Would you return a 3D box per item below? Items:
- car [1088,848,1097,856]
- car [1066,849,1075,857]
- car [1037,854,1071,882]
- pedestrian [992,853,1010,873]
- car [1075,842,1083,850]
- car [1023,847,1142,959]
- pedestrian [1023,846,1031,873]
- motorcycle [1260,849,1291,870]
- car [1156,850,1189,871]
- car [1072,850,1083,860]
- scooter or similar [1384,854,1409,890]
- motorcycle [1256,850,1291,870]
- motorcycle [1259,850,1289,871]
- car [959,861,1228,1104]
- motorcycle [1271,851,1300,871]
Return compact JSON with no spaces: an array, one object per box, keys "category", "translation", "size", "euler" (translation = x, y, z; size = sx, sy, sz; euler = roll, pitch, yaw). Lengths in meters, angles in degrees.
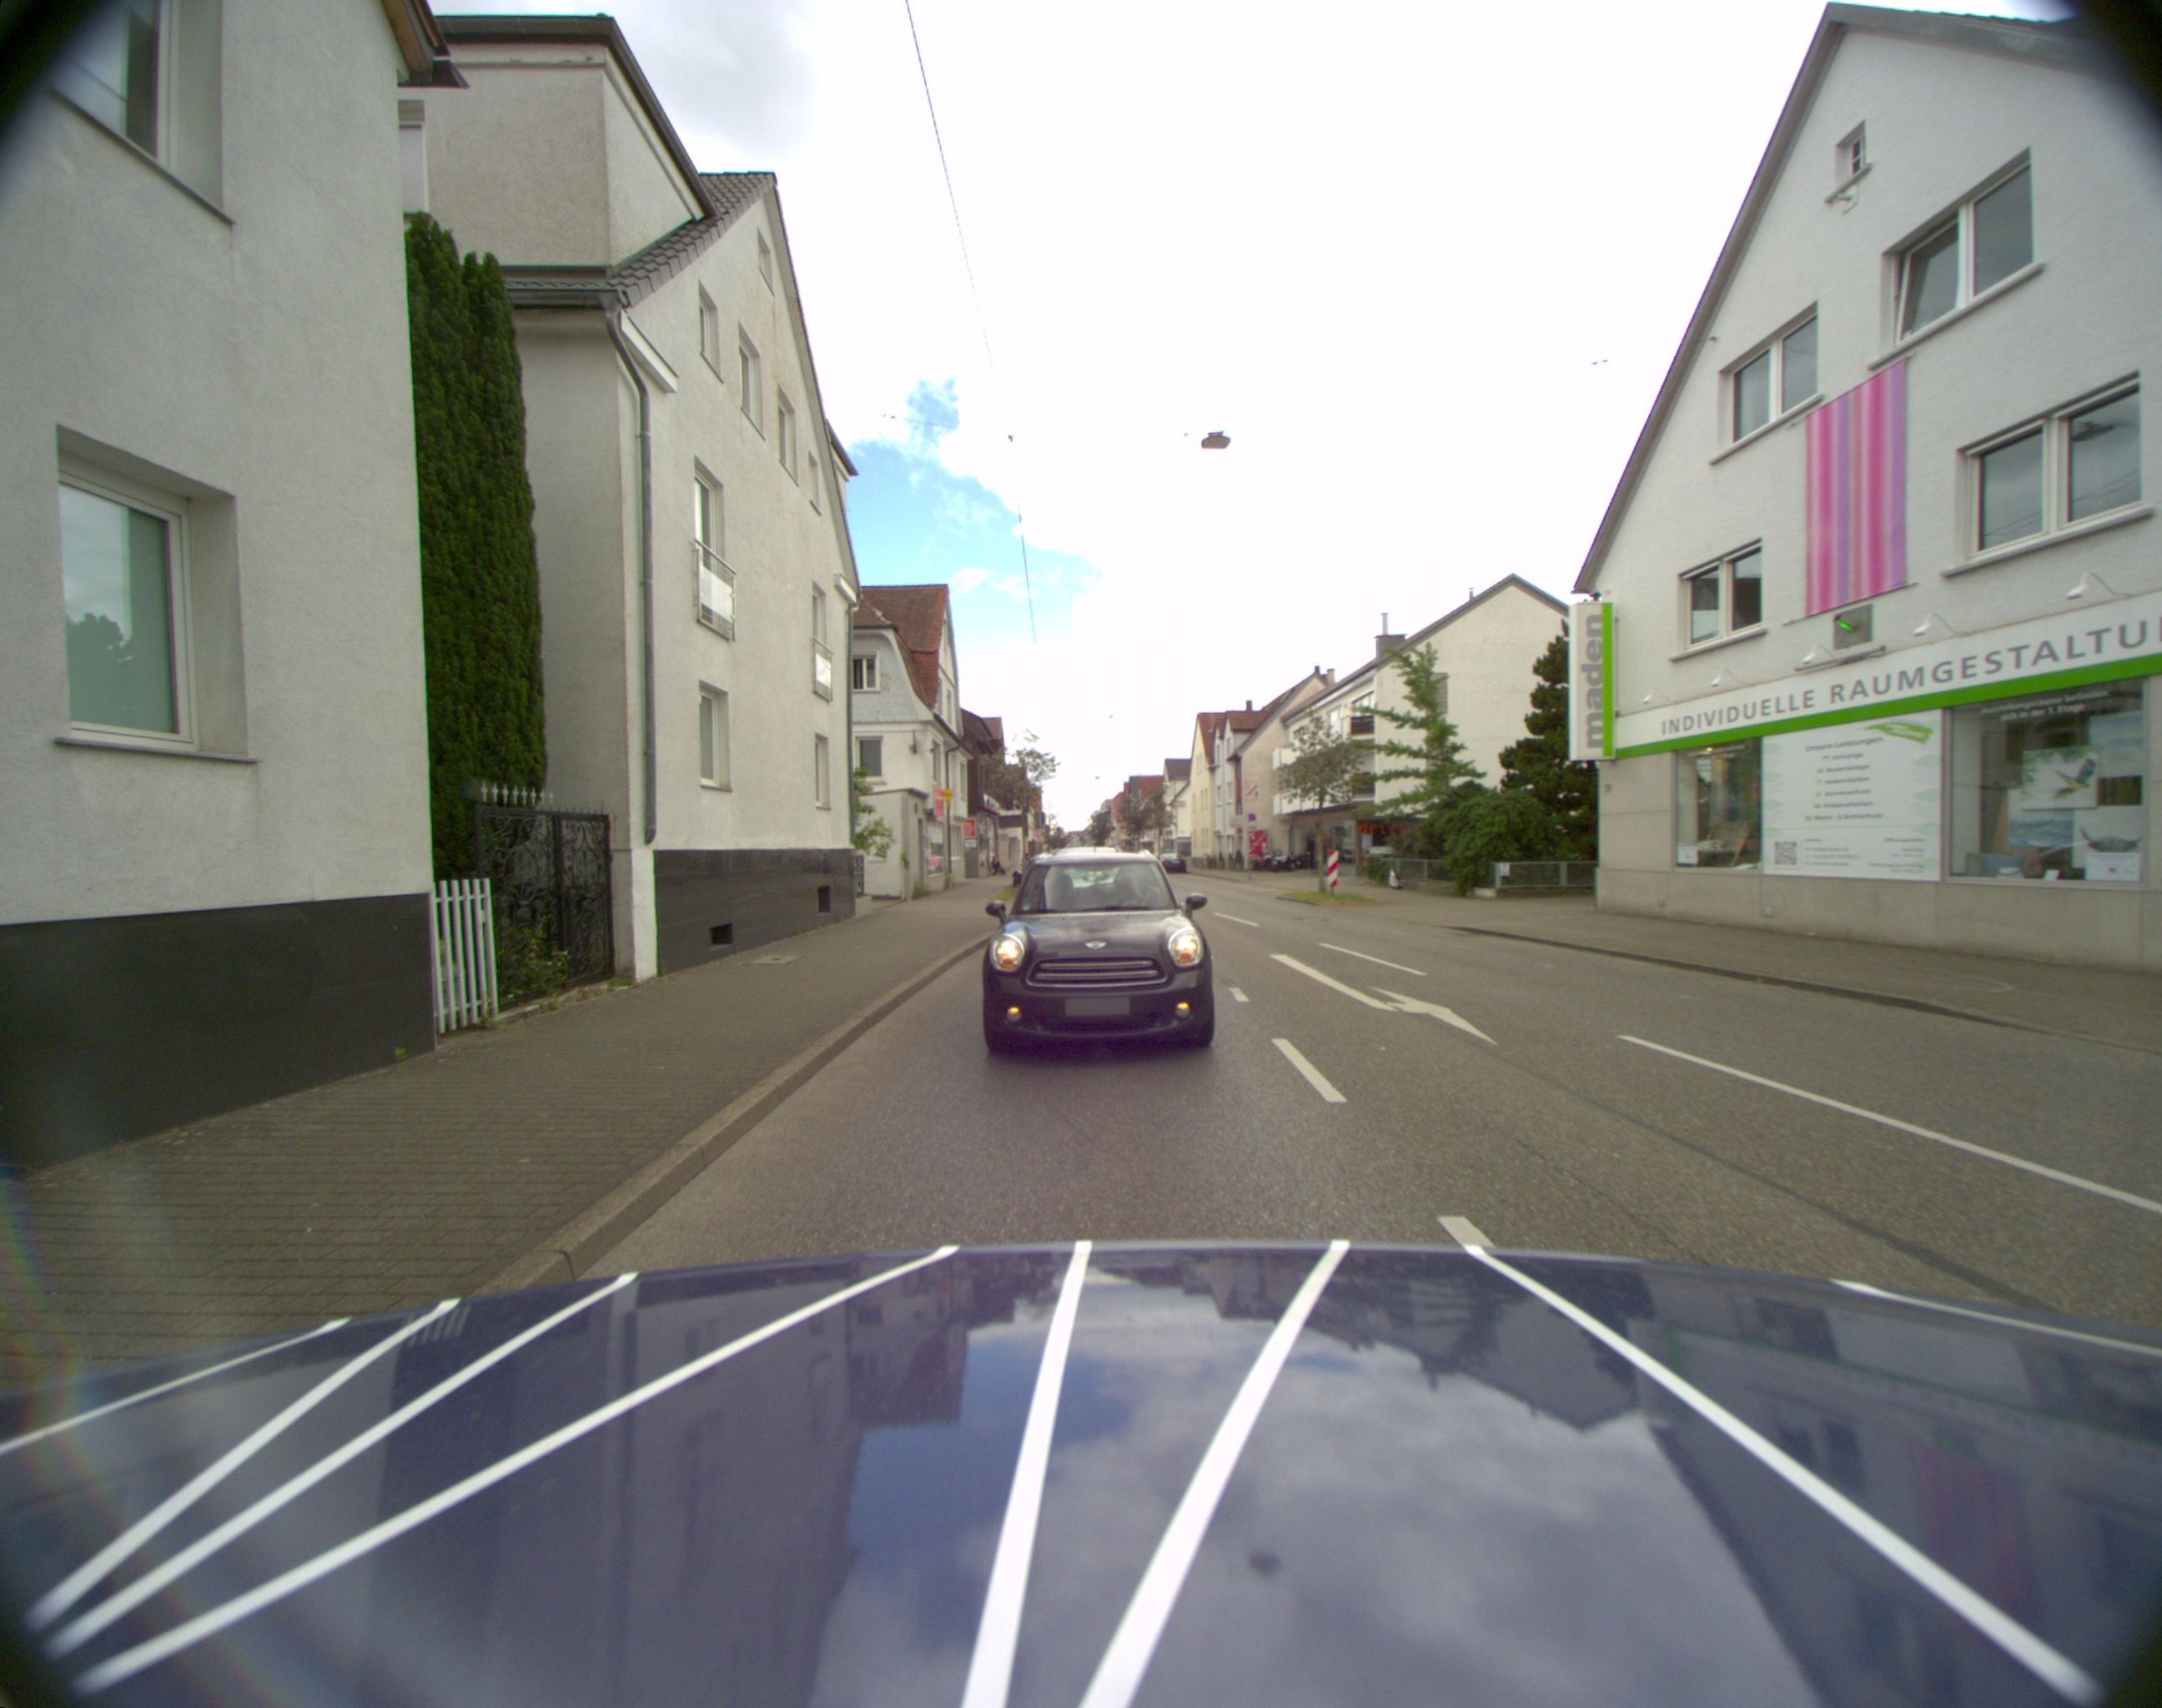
[{"category":"car","translation":[2.423,-0.360,160.358],"size":[1.846,1.510,3.999],"euler":[-2,1,0]},{"category":"car","translation":[-2.190,-0.154,159.249],"size":[1.846,1.510,3.999],"euler":[-2,1,0]},{"category":"car","translation":[-1.604,0.794,45.256],"size":[1.846,1.510,3.999],"euler":[-2,1,-2]},{"category":"pedestrian","translation":[-5.191,0.564,49.267],"size":[0.982,1.272,0.667],"euler":[0,1,12]},{"category":"car","translation":[-0.645,-2.321,219.926],"size":[1.951,2.117,4.321],"euler":[0,0,-3]},{"category":"car","translation":[-0.012,0.747,14.201],"size":[1.811,1.556,4.616],"euler":[-2,2,-1]},{"category":"pedestrian","translation":[-3.522,0.372,49.746],"size":[0.497,1.744,0.451],"euler":[-1,1,1]},{"category":"motorcycle","translation":[11.475,0.324,44.830],"size":[1.678,1.099,0.558],"euler":[-3,1,0]},{"category":"car","translation":[6.357,0.449,53.309],"size":[1.634,1.404,3.998],"euler":[0,0,-3]},{"category":"car","translation":[-0.594,0.225,126.986],"size":[1.846,1.510,3.999],"euler":[-2,1,0]},{"category":"scooter or similar","translation":[10.257,0.572,24.734],"size":[0.465,1.117,1.829],"euler":[-2,0,14]},{"category":"motorcycle","translation":[11.171,0.348,44.050],"size":[1.834,1.099,0.505],"euler":[-3,1,0]},{"category":"motorcycle","translation":[10.959,0.370,43.111],"size":[1.515,1.099,0.589],"euler":[-3,1,6]},{"category":"car","translation":[0.107,0.852,6.899],"size":[1.693,1.506,4.000],"euler":[-2,0,1]},{"category":"motorcycle","translation":[11.388,0.394,42.312],"size":[1.429,1.017,0.525],"euler":[-3,1,0]}]
